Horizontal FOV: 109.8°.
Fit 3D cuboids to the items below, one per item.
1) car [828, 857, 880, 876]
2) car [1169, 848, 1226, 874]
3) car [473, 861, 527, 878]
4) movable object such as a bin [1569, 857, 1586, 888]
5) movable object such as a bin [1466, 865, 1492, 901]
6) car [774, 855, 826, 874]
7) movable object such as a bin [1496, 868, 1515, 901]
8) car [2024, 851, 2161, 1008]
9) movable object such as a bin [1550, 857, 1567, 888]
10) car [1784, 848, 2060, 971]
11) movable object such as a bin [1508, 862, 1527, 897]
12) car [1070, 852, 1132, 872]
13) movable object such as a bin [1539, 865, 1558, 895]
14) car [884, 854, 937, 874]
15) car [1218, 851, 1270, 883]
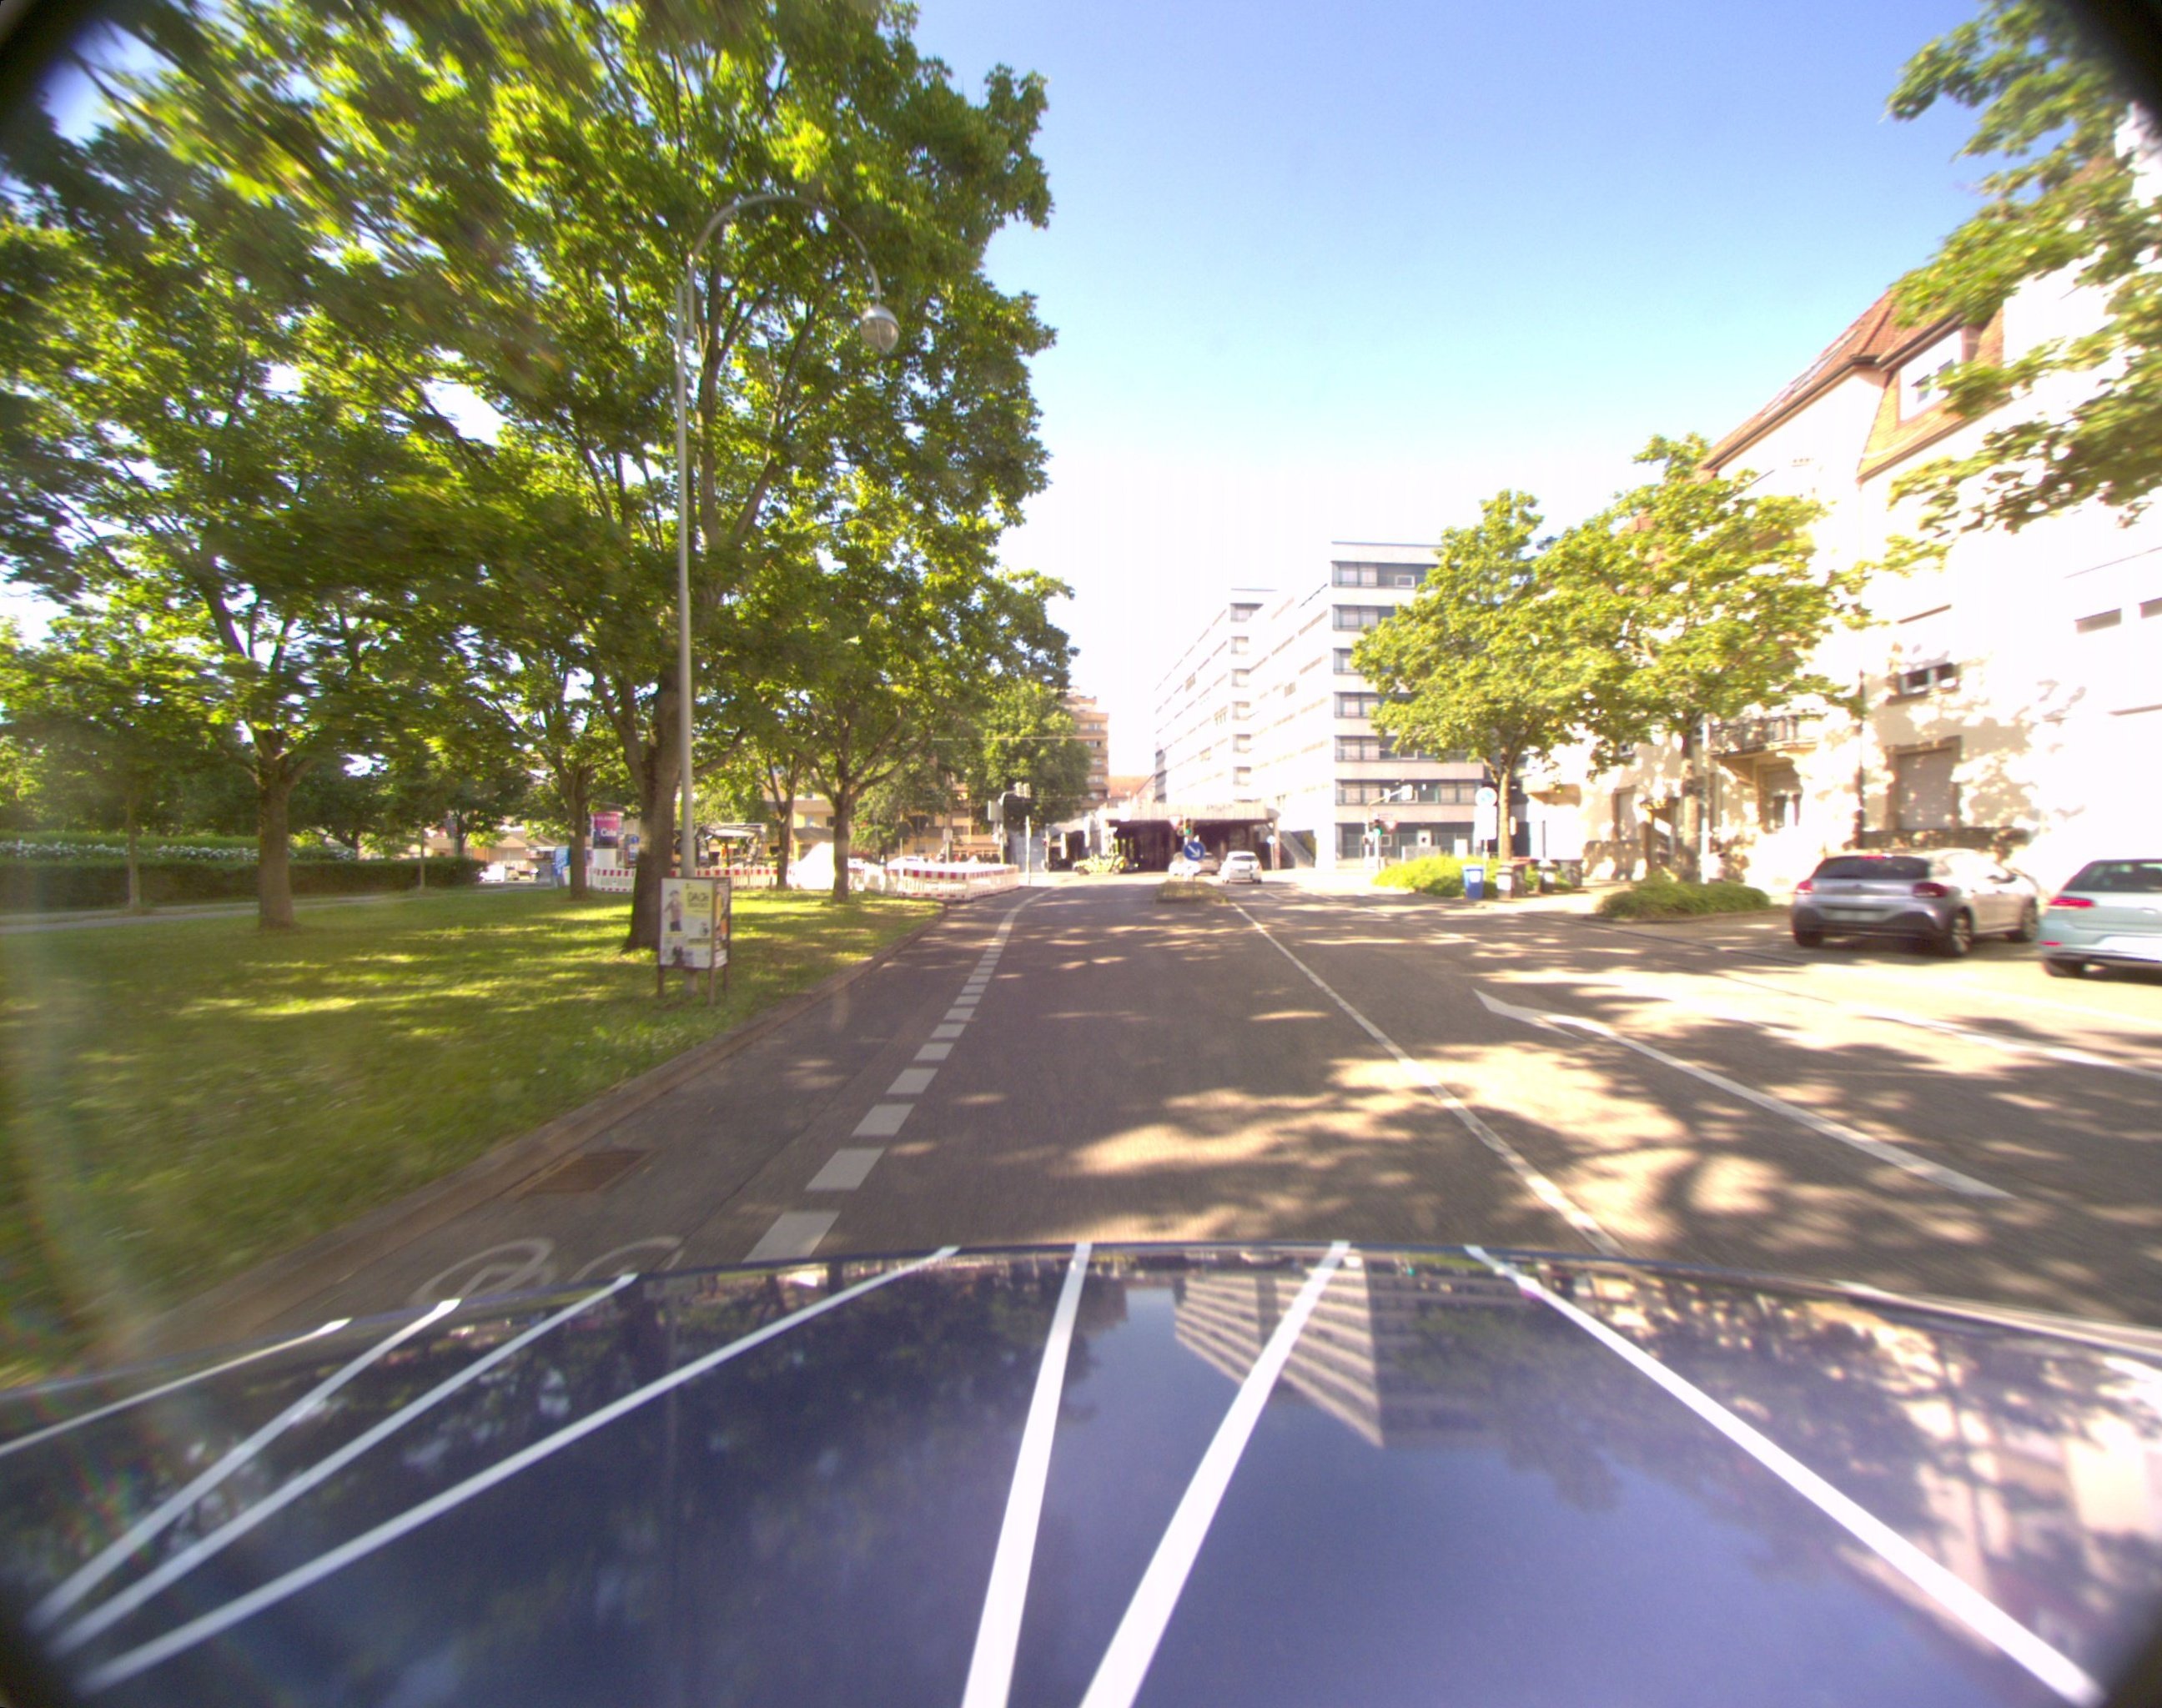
[{"bbox_3d":[-19.299,1.055,64.595,3.749,1.545,1.932,0,1,16],"label":"car"},{"bbox_3d":[7.299,0.413,48.081,1.931,1.545,4.063,-1,1,-18],"label":"car"},{"bbox_3d":[-57.824,1.512,75.652,3.997,1.580,1.828,-1,1,1],"label":"car"},{"bbox_3d":[17.220,0.637,26.352,0.476,1.055,0.551,0,1,32],"label":"movable object such as a bin"},{"bbox_3d":[12.282,0.883,23.443,0.674,1.067,0.804,0,1,32],"label":"movable object such as a bin"},{"bbox_3d":[-24.217,0.870,65.494,3.749,1.545,1.932,0,1,16],"label":"car"},{"bbox_3d":[12.938,0.919,23.145,0.476,0.954,0.543,-2,1,32],"label":"movable object such as a bin"},{"bbox_3d":[12.681,0.755,8.552,4.005,1.456,1.807,-2,1,-27],"label":"car"},{"bbox_3d":[16.747,0.636,26.648,0.476,1.055,0.551,0,1,32],"label":"movable object such as a bin"},{"bbox_3d":[12.763,0.719,11.515,4.005,1.456,1.807,-2,1,-27],"label":"car"},{"bbox_3d":[13.643,0.795,23.771,0.476,1.035,0.543,-1,1,32],"label":"movable object such as a bin"},{"bbox_3d":[1.498,0.575,56.471,4.312,1.398,1.932,0,1,16],"label":"car"},{"bbox_3d":[14.888,0.815,24.195,0.476,0.938,0.543,-2,0,32],"label":"movable object such as a bin"},{"bbox_3d":[-14.019,0.819,62.573,3.749,1.545,1.932,0,1,16],"label":"car"},{"bbox_3d":[7.803,0.574,36.683,1.927,1.443,3.757,0,1,4],"label":"car"}]
